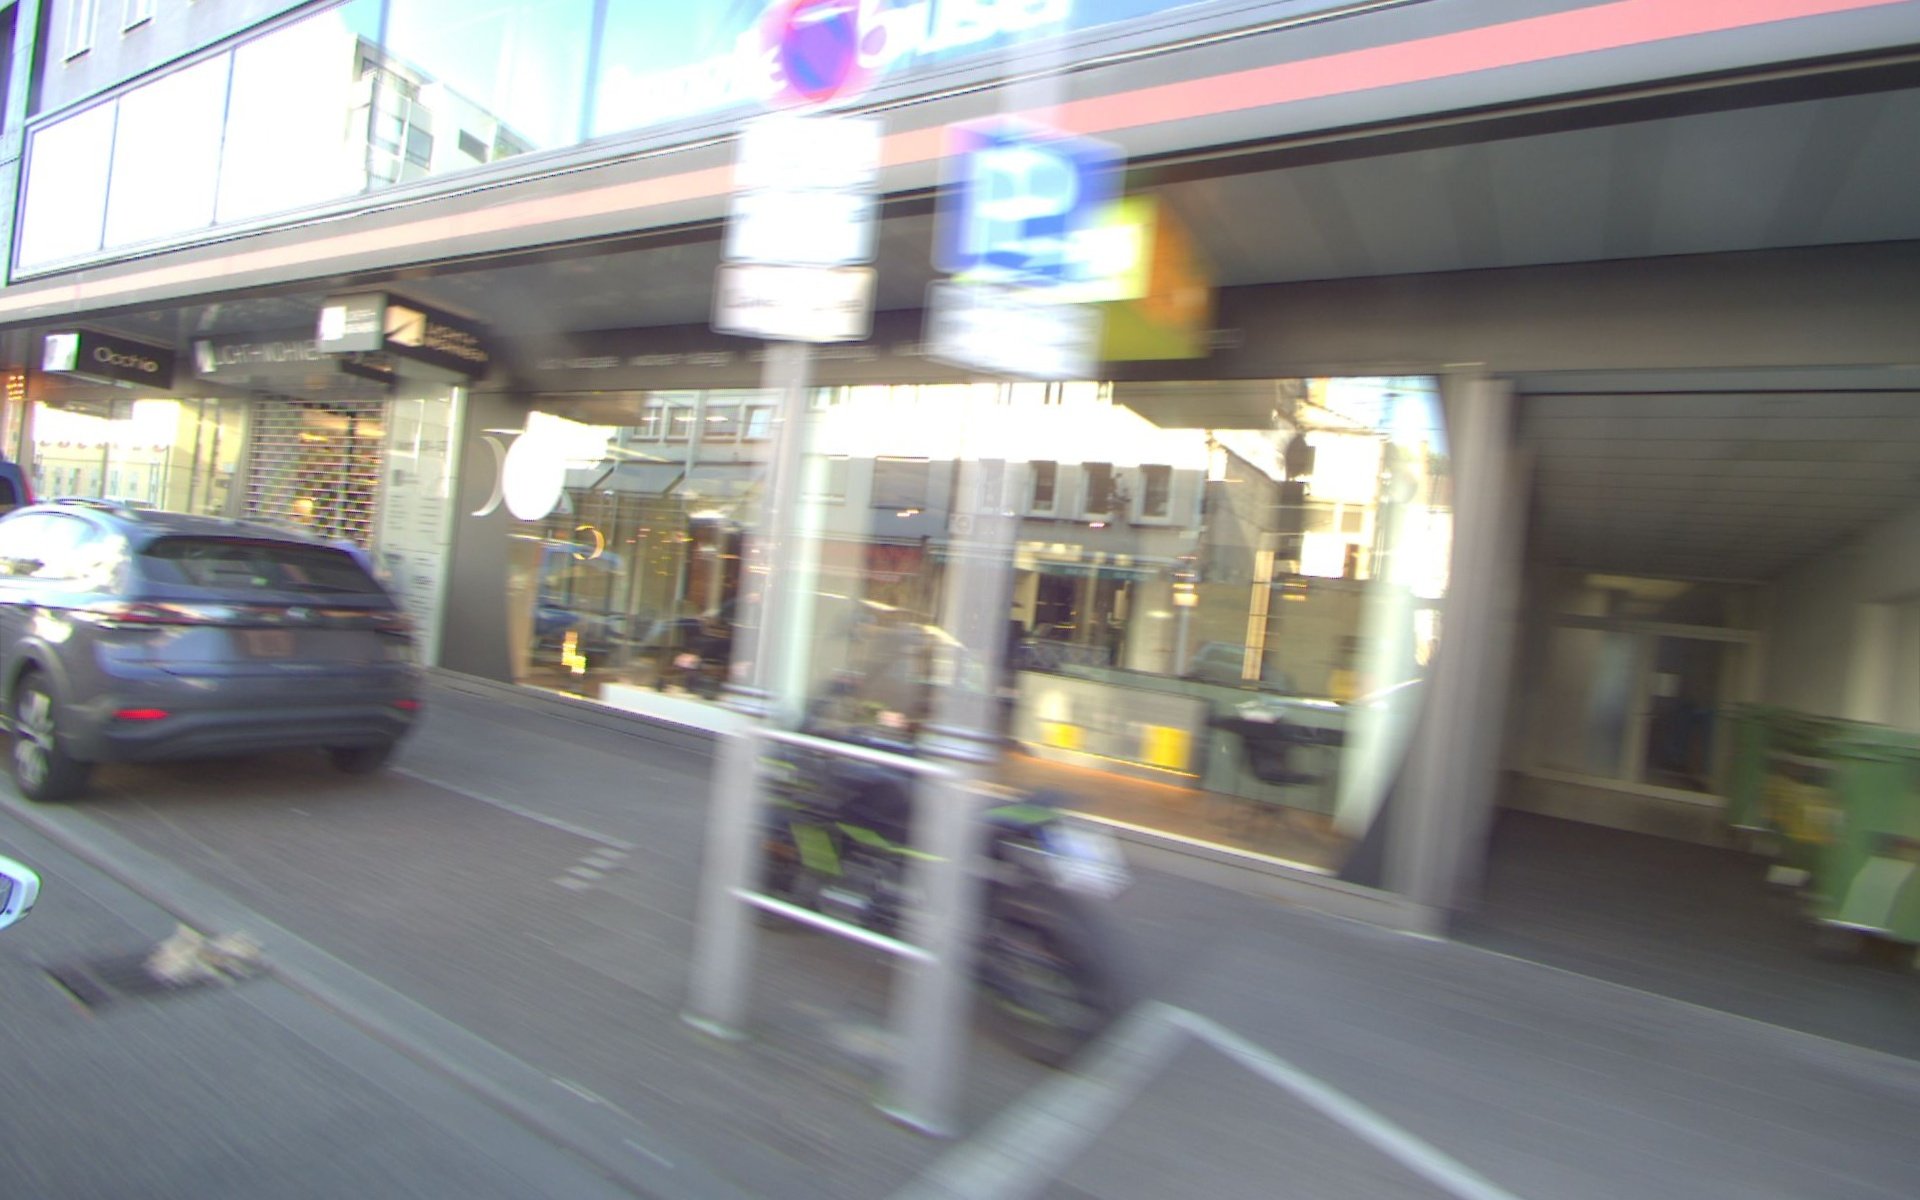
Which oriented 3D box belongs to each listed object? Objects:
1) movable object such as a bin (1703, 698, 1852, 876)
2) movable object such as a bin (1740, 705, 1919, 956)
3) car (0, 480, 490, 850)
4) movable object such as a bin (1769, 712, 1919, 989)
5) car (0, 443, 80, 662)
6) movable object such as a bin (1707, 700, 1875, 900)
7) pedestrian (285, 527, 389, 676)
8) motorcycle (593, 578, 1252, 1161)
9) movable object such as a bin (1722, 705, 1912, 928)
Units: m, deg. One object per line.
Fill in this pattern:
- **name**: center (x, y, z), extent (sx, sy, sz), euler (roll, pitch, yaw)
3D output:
- **movable object such as a bin**: center (7.340, 1.641, 9.086), extent (0.788, 1.378, 0.880), euler (7, 1, 31)
- **movable object such as a bin**: center (5.754, 1.444, 6.585), extent (0.788, 1.378, 0.880), euler (7, 1, 31)
- **car**: center (-5.096, 0.158, 6.300), extent (4.216, 1.598, 1.765), euler (6, 1, 31)
- **movable object such as a bin**: center (5.309, 1.402, 5.772), extent (0.788, 1.378, 0.880), euler (7, 1, 31)
- **car**: center (-10.391, -0.642, 9.327), extent (4.472, 1.883, 1.819), euler (6, 0, 28)
- **movable object such as a bin**: center (6.691, 1.567, 8.161), extent (0.788, 1.378, 0.880), euler (7, 1, 31)
- **pedestrian**: center (-6.492, 0.016, 10.485), extent (0.719, 1.458, 0.575), euler (7, 2, 32)
- **motorcycle**: center (-0.240, 0.760, 3.671), extent (2.284, 1.450, 0.659), euler (6, 1, 31)
- **movable object such as a bin**: center (6.230, 1.523, 7.377), extent (0.788, 1.378, 0.880), euler (7, 1, 31)
